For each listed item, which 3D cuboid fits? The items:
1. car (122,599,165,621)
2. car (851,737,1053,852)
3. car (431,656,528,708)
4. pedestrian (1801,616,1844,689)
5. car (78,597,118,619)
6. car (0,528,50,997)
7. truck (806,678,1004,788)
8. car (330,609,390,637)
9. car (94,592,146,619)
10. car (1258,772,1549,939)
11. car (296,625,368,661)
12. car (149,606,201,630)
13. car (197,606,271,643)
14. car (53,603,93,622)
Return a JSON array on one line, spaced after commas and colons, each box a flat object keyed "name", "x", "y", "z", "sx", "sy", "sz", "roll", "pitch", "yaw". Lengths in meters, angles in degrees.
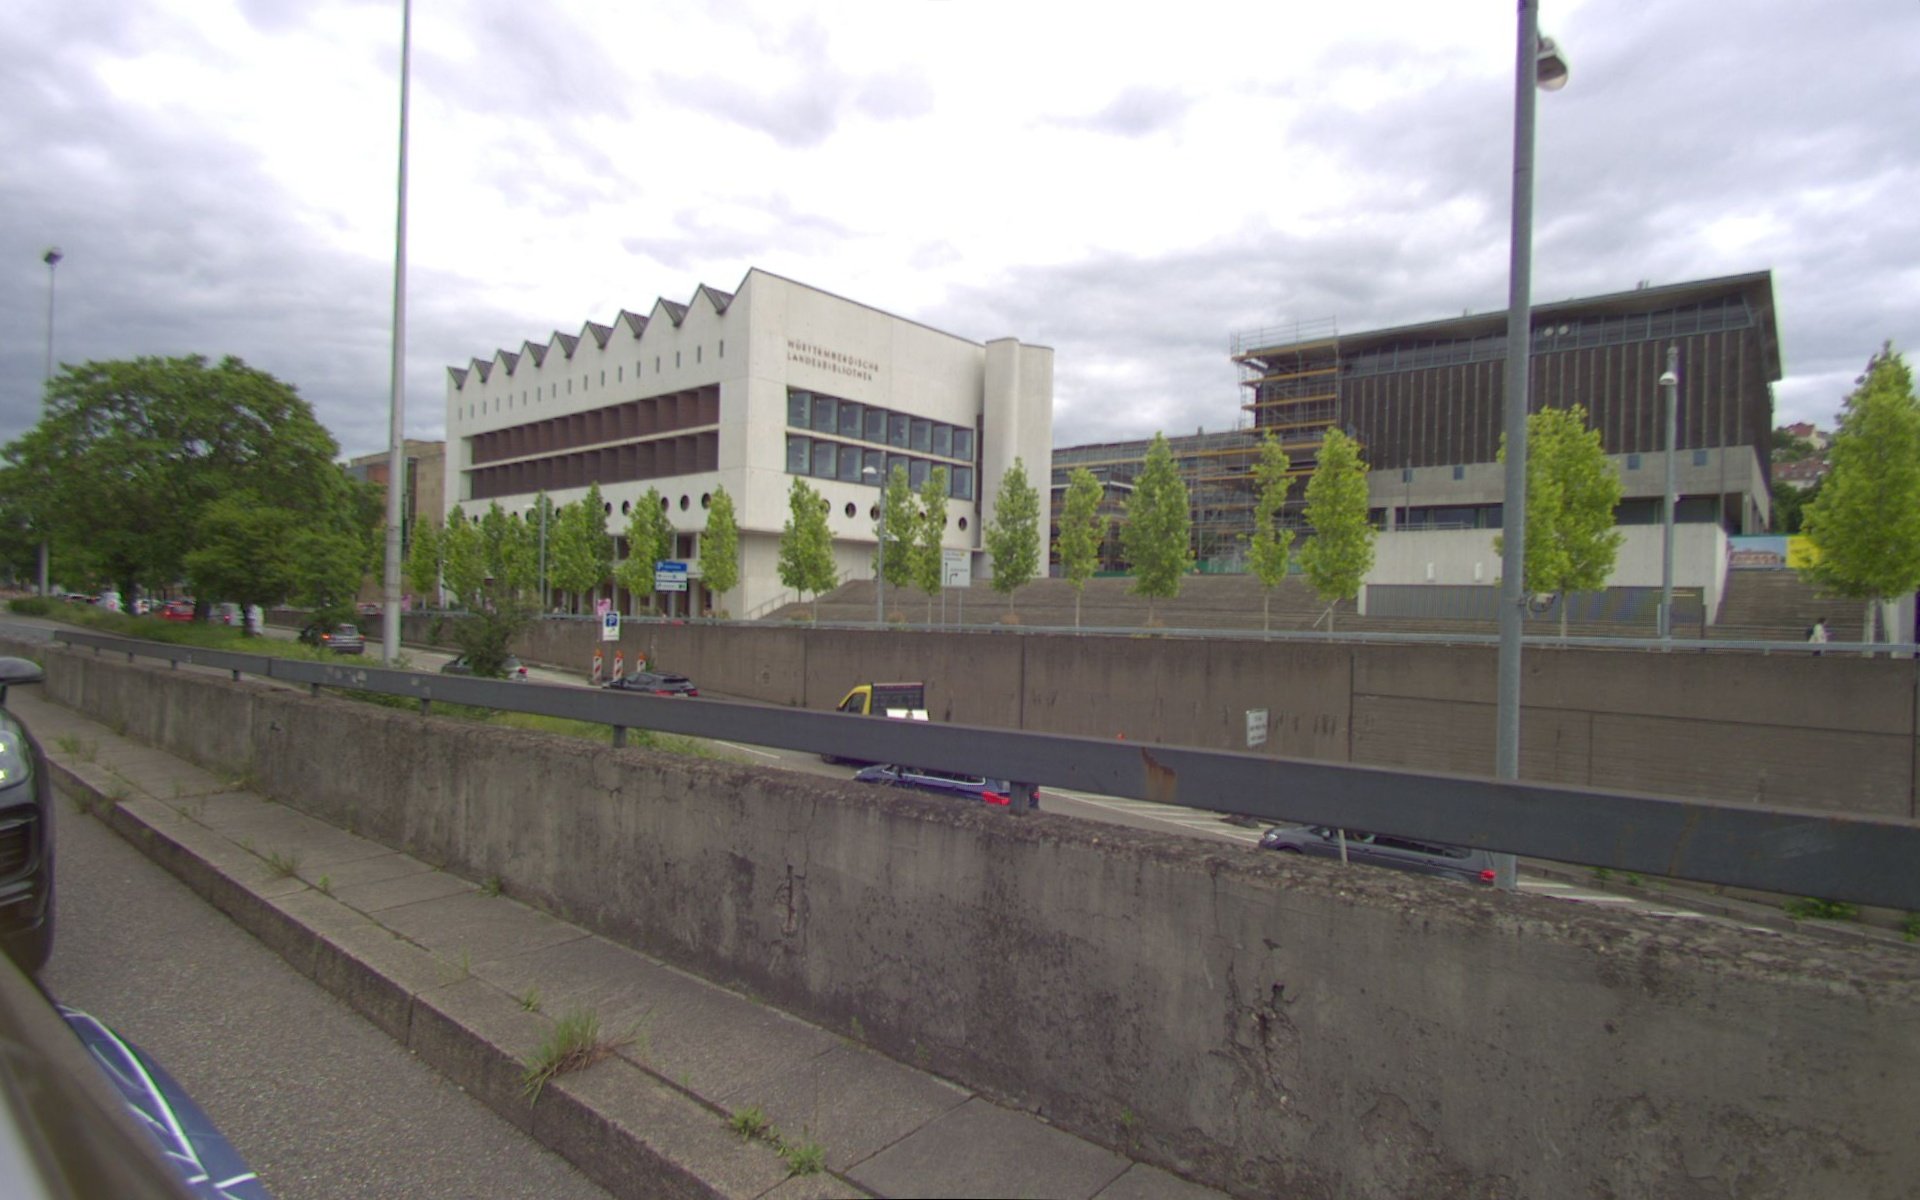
[{"name": "car", "x": -66.032, "y": 0.802, "z": 81.846, "sx": 4.141, "sy": 1.500, "sz": 1.758, "roll": 3, "pitch": 0, "yaw": 38}, {"name": "car", "x": -0.242, "y": 4.015, "z": 21.477, "sx": 4.167, "sy": 1.582, "sz": 1.792, "roll": 1, "pitch": 2, "yaw": 41}, {"name": "car", "x": -17.676, "y": 2.956, "z": 37.160, "sx": 3.904, "sy": 1.553, "sz": 1.696, "roll": 1, "pitch": 2, "yaw": 39}, {"name": "pedestrian", "x": 24.236, "y": 1.467, "z": 28.443, "sx": 0.730, "sy": 2.029, "sz": 0.793, "roll": 1, "pitch": -3, "yaw": -45}, {"name": "car", "x": -69.221, "y": 0.637, "z": 81.258, "sx": 4.144, "sy": 1.500, "sz": 1.757, "roll": 3, "pitch": 0, "yaw": 40}, {"name": "car", "x": -5.548, "y": 0.549, "z": 4.500, "sx": 4.733, "sy": 1.602, "sz": 1.879, "roll": 0, "pitch": 0, "yaw": 44}, {"name": "truck", "x": -1.573, "y": 3.421, "z": 27.117, "sx": 5.378, "sy": 2.419, "sz": 2.159, "roll": -2, "pitch": -2, "yaw": 43}, {"name": "car", "x": -41.340, "y": 1.560, "z": 69.696, "sx": 4.732, "sy": 1.869, "sz": 2.152, "roll": -1, "pitch": -2, "yaw": 40}, {"name": "car", "x": -61.711, "y": 0.389, "z": 74.326, "sx": 5.247, "sy": 1.651, "sz": 1.973, "roll": 2, "pitch": -5, "yaw": 41}, {"name": "car", "x": 8.061, "y": 4.516, "z": 18.603, "sx": 4.393, "sy": 1.780, "sz": 2.140, "roll": 4, "pitch": 0, "yaw": 41}, {"name": "car", "x": -30.018, "y": 2.009, "z": 48.321, "sx": 3.999, "sy": 1.560, "sz": 1.855, "roll": 0, "pitch": -1, "yaw": 42}, {"name": "car", "x": -50.844, "y": 1.172, "z": 65.524, "sx": 3.999, "sy": 1.497, "sz": 1.972, "roll": -1, "pitch": -2, "yaw": 42}, {"name": "car", "x": -41.411, "y": 1.386, "z": 57.670, "sx": 5.112, "sy": 2.029, "sz": 2.196, "roll": -1, "pitch": -2, "yaw": 40}, {"name": "car", "x": -74.379, "y": 1.050, "z": 84.846, "sx": 3.998, "sy": 1.409, "sz": 1.973, "roll": 0, "pitch": -4, "yaw": 41}]
